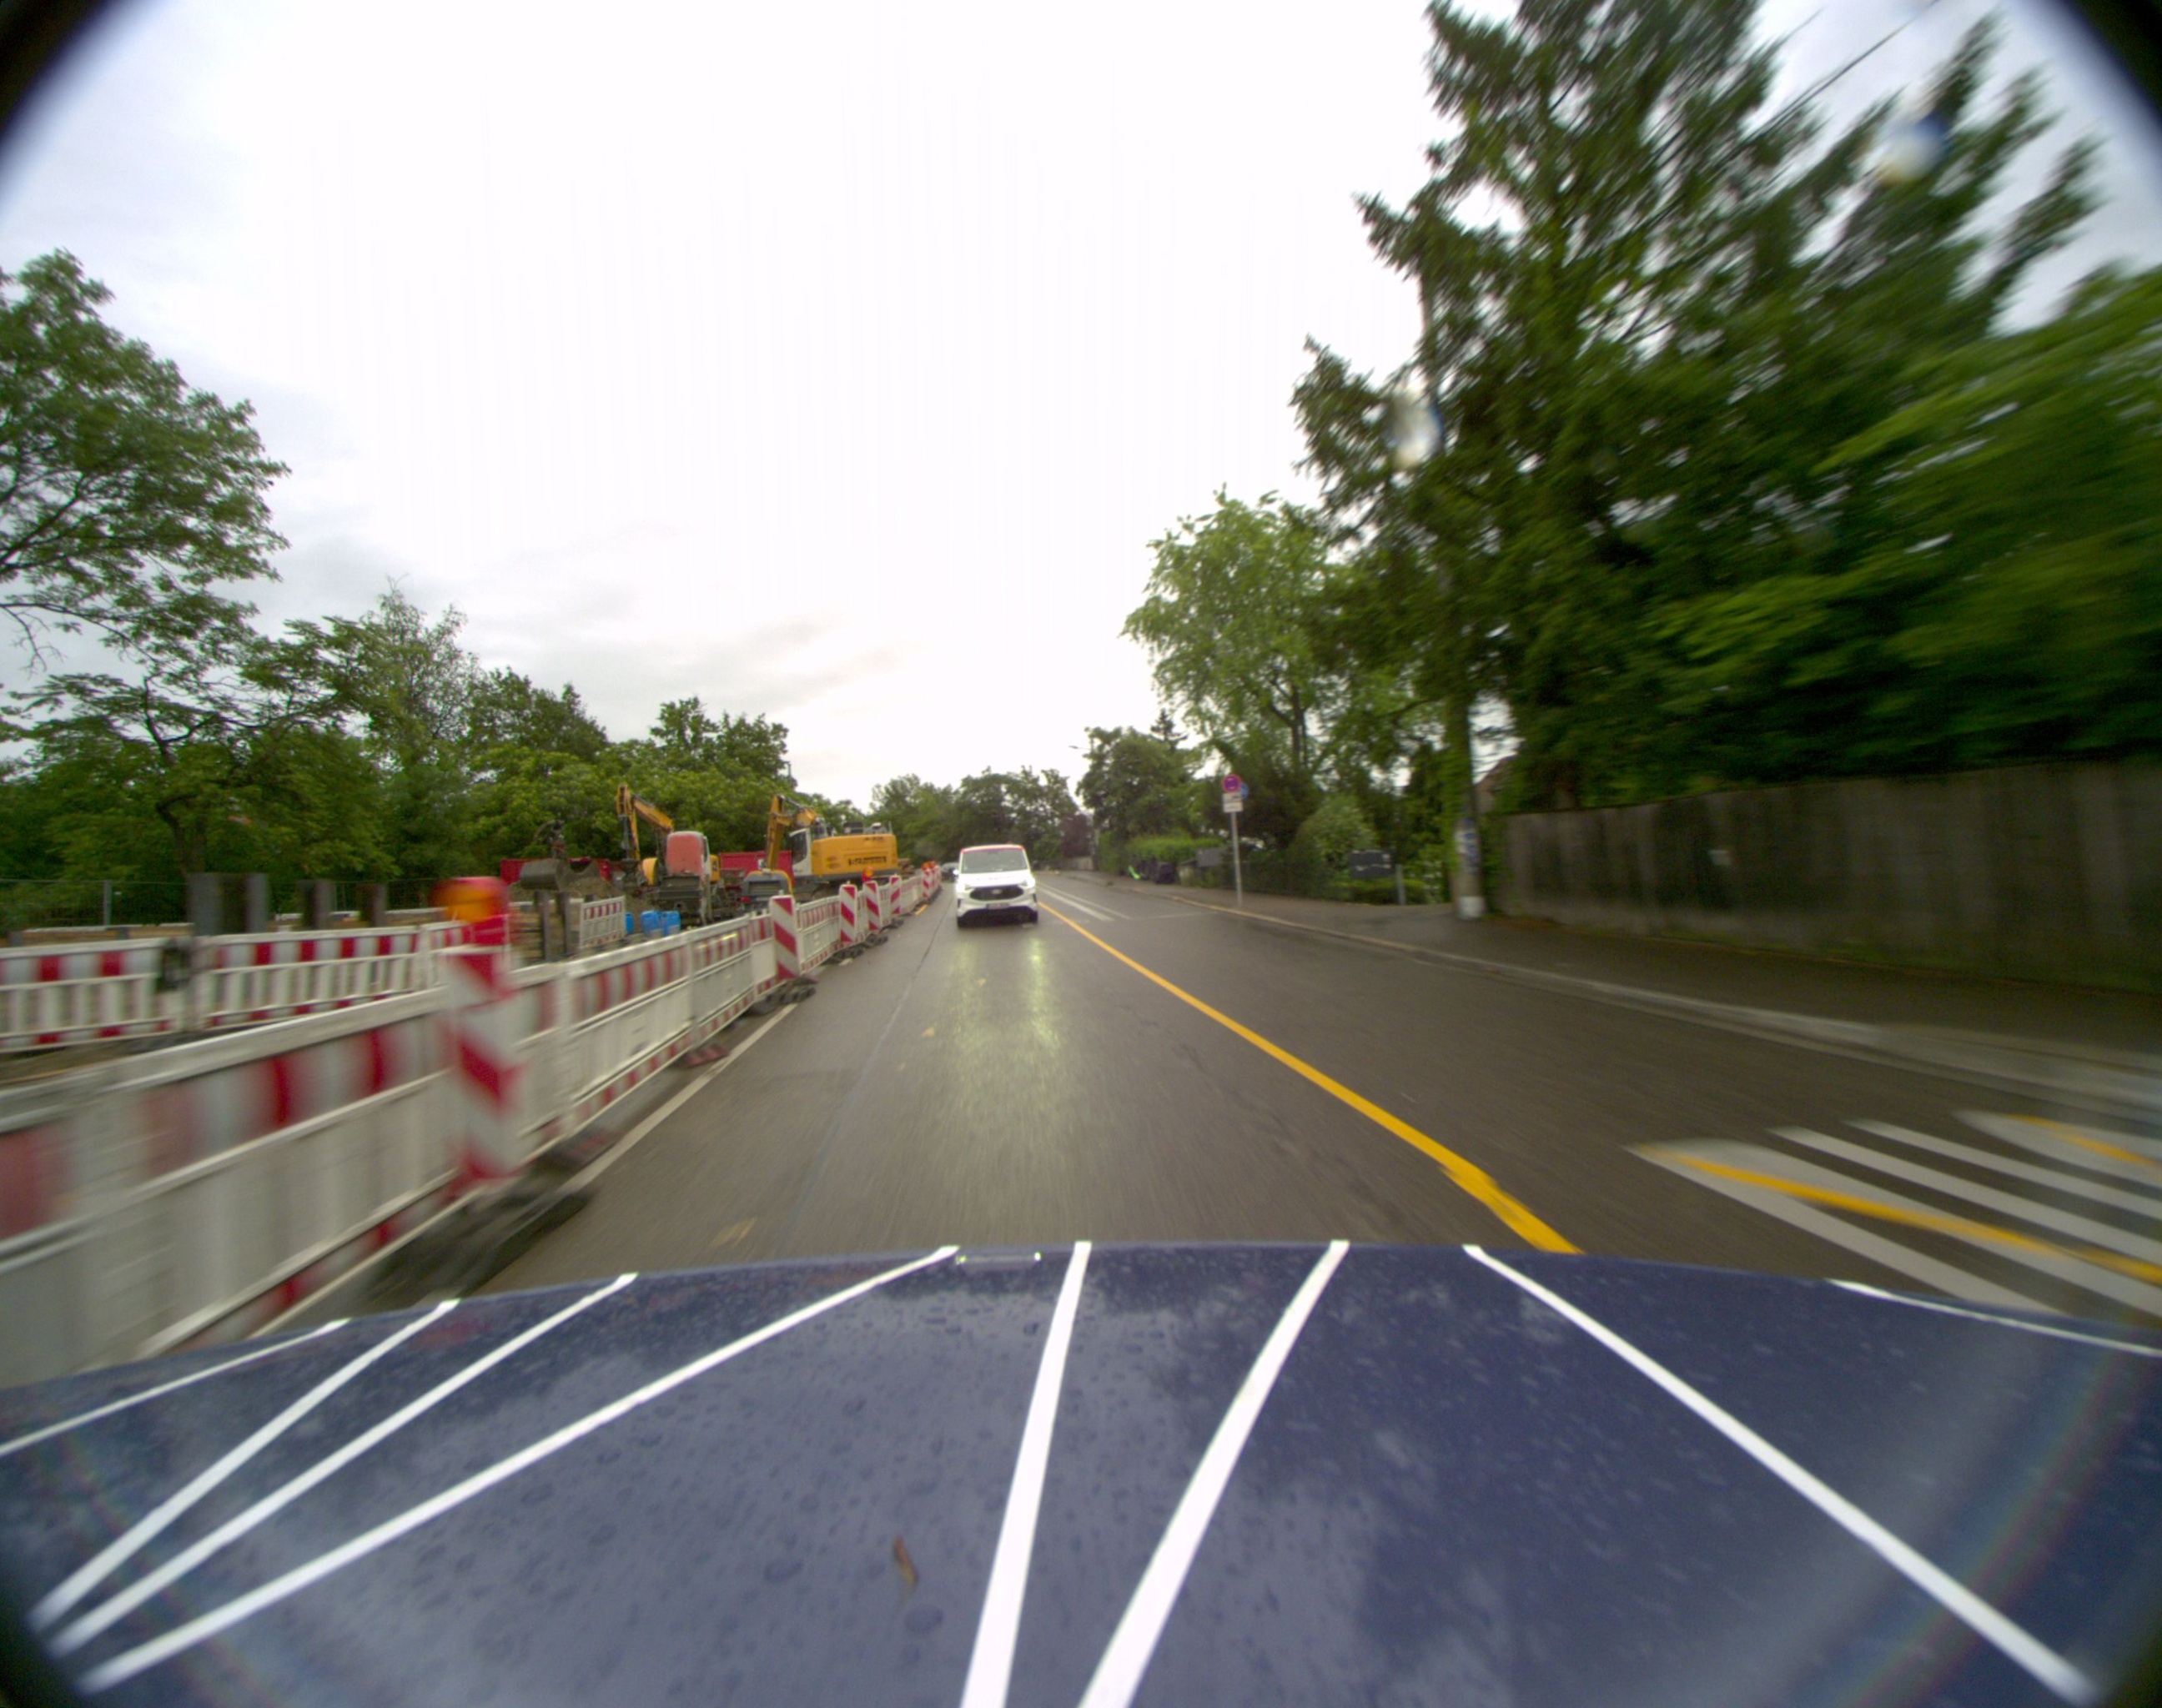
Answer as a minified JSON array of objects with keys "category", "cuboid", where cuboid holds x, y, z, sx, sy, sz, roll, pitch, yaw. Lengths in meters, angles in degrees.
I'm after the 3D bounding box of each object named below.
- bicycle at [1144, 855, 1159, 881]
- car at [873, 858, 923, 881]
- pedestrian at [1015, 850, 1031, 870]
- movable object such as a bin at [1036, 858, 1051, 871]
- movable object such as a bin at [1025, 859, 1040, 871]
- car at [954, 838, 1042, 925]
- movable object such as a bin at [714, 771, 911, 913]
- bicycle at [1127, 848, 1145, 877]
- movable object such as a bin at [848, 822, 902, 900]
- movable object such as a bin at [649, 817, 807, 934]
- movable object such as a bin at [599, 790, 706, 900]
[{"category":"bicycle","cuboid":[3.133,0.626,33.680,0.339,1.101,1.255,-4,2,-8]},{"category":"car","cuboid":[-18.832,1.603,78.127,4.802,2.001,1.875,-5,-2,29]},{"category":"pedestrian","cuboid":[-5.135,0.540,67.054,0.927,1.757,0.978,-3,-1,-37]},{"category":"movable object such as a bin","cuboid":[-3.455,0.947,69.772,0.991,1.099,1.026,-2,-3,-28]},{"category":"movable object such as a bin","cuboid":[-4.413,1.007,69.326,0.991,1.099,1.025,-2,-2,-28]},{"category":"car","cuboid":[-2.251,0.721,20.110,2.000,2.001,4.946,1,-2,-8]},{"category":"movable object such as a bin","cuboid":[-11.358,-0.499,31.165,3.072,4.892,10.788,-6,4,-44]},{"category":"bicycle","cuboid":[2.651,0.394,36.935,0.422,1.342,1.741,-4,2,-8]},{"category":"movable object such as a bin","cuboid":[-9.427,0.242,35.082,2.000,3.287,3.830,-3,3,-12]},{"category":"movable object such as a bin","cuboid":[-10.918,0.715,23.858,4.002,3.182,2.406,-4,-5,-17]},{"category":"movable object such as a bin","cuboid":[-16.600,-0.313,29.732,2.000,3.866,4.613,-4,0,-10]}]
